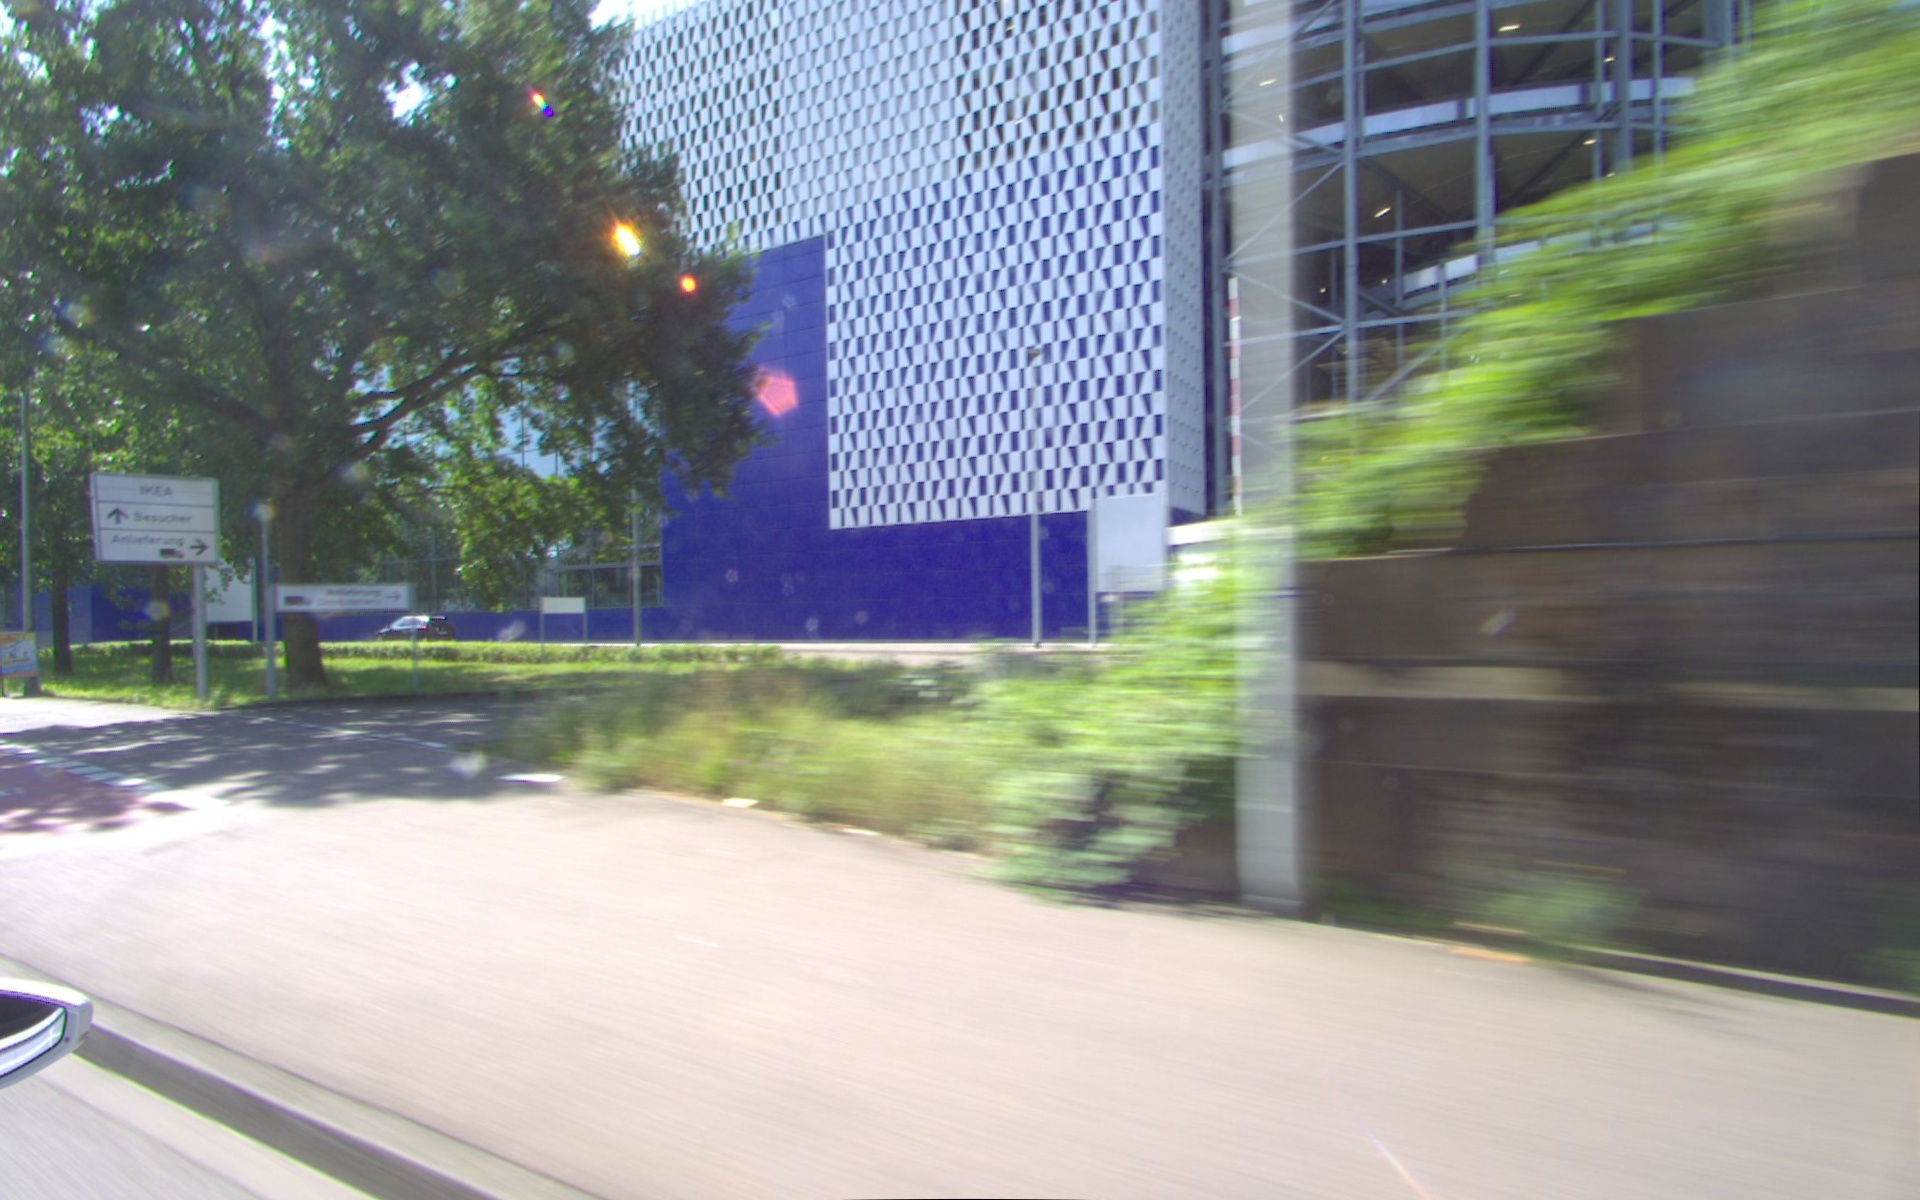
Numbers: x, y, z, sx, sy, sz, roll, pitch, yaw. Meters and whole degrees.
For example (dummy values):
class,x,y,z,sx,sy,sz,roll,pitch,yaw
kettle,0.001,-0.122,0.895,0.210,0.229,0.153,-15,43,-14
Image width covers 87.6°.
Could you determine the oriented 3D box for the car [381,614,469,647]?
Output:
class,x,y,z,sx,sy,sz,roll,pitch,yaw
car,-26.113,1.498,48.868,4.311,1.540,1.902,-1,-1,32
